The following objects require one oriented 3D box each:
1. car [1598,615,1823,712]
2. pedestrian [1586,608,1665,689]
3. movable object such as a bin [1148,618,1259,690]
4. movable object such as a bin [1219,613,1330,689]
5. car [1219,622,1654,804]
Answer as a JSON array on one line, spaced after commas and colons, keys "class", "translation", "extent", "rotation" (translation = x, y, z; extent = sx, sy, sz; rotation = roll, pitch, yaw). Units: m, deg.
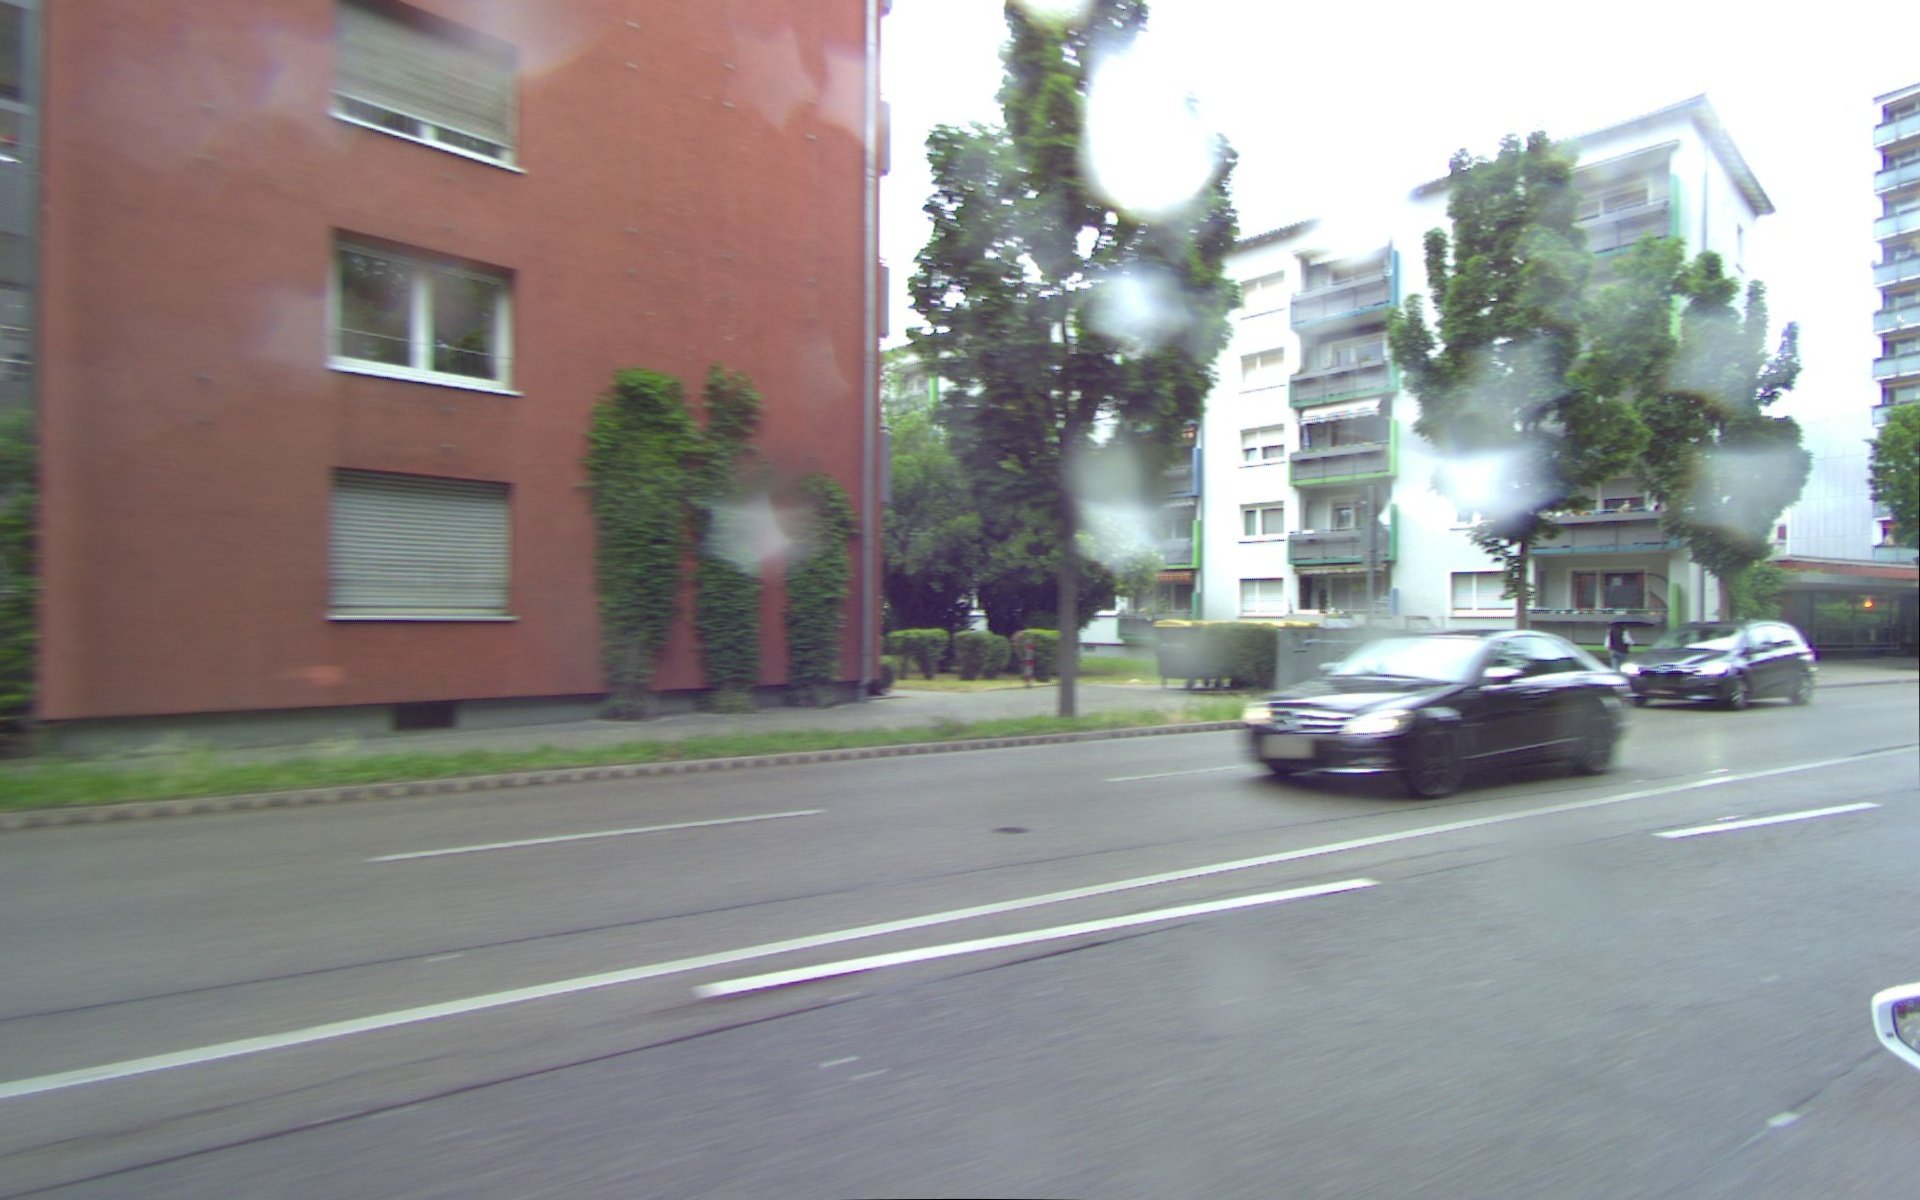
[{"class": "car", "translation": [14.174, 1.139, 18.923], "extent": [4.413, 1.623, 1.865], "rotation": [1, -3, -31]}, {"class": "pedestrian", "translation": [15.640, 1.114, 23.605], "extent": [1.248, 1.828, 1.129], "rotation": [1, -1, -31]}, {"class": "movable object such as a bin", "translation": [4.837, 1.043, 19.933], "extent": [1.945, 1.349, 1.150], "rotation": [1, -1, -34]}, {"class": "movable object such as a bin", "translation": [6.626, 1.045, 21.135], "extent": [2.065, 1.504, 1.208], "rotation": [1, -1, -34]}, {"class": "car", "translation": [4.696, 0.939, 9.723], "extent": [4.314, 1.403, 1.831], "rotation": [1, -3, -33]}]
